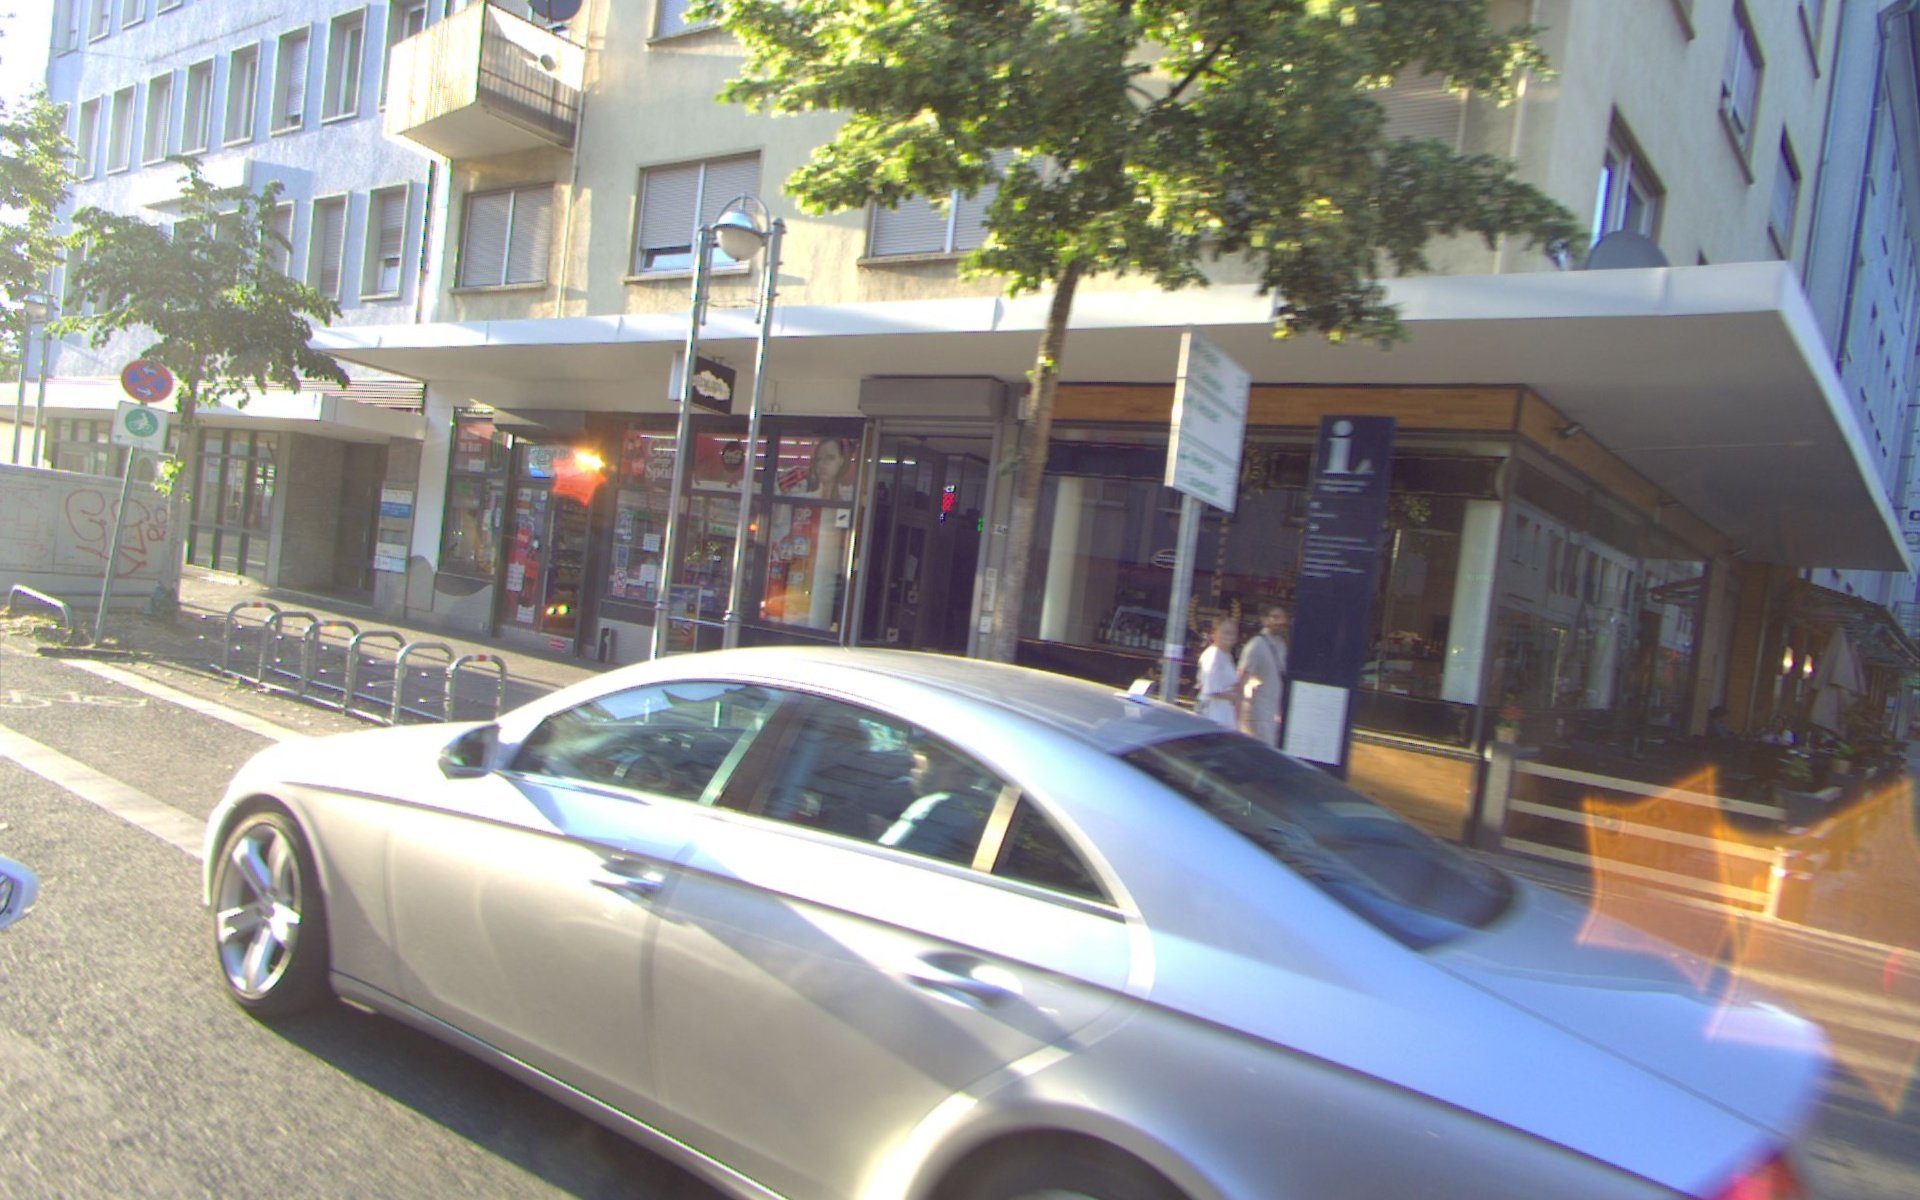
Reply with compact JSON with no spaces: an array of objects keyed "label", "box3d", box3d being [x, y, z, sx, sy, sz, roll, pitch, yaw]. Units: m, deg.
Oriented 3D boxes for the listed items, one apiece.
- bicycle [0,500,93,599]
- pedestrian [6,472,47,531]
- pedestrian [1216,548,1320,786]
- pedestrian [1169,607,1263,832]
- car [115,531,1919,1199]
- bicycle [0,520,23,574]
[{"label":"bicycle","box3d":[-12.843,-0.714,13.687,0.377,1.234,1.443,7,-1,32]},{"label":"pedestrian","box3d":[-31.600,-3.317,34.059,0.831,1.865,0.671,5,2,-38]},{"label":"pedestrian","box3d":[2.446,0.513,7.976,0.494,1.783,0.543,7,4,30]},{"label":"pedestrian","box3d":[1.954,0.880,7.663,0.401,1.615,0.519,7,4,30]},{"label":"car","box3d":[-0.434,0.782,3.068,4.561,1.417,1.746,7,-1,30]},{"label":"bicycle","box3d":[-15.499,-0.883,16.215,1.097,0.805,0.250,7,0,33]}]
